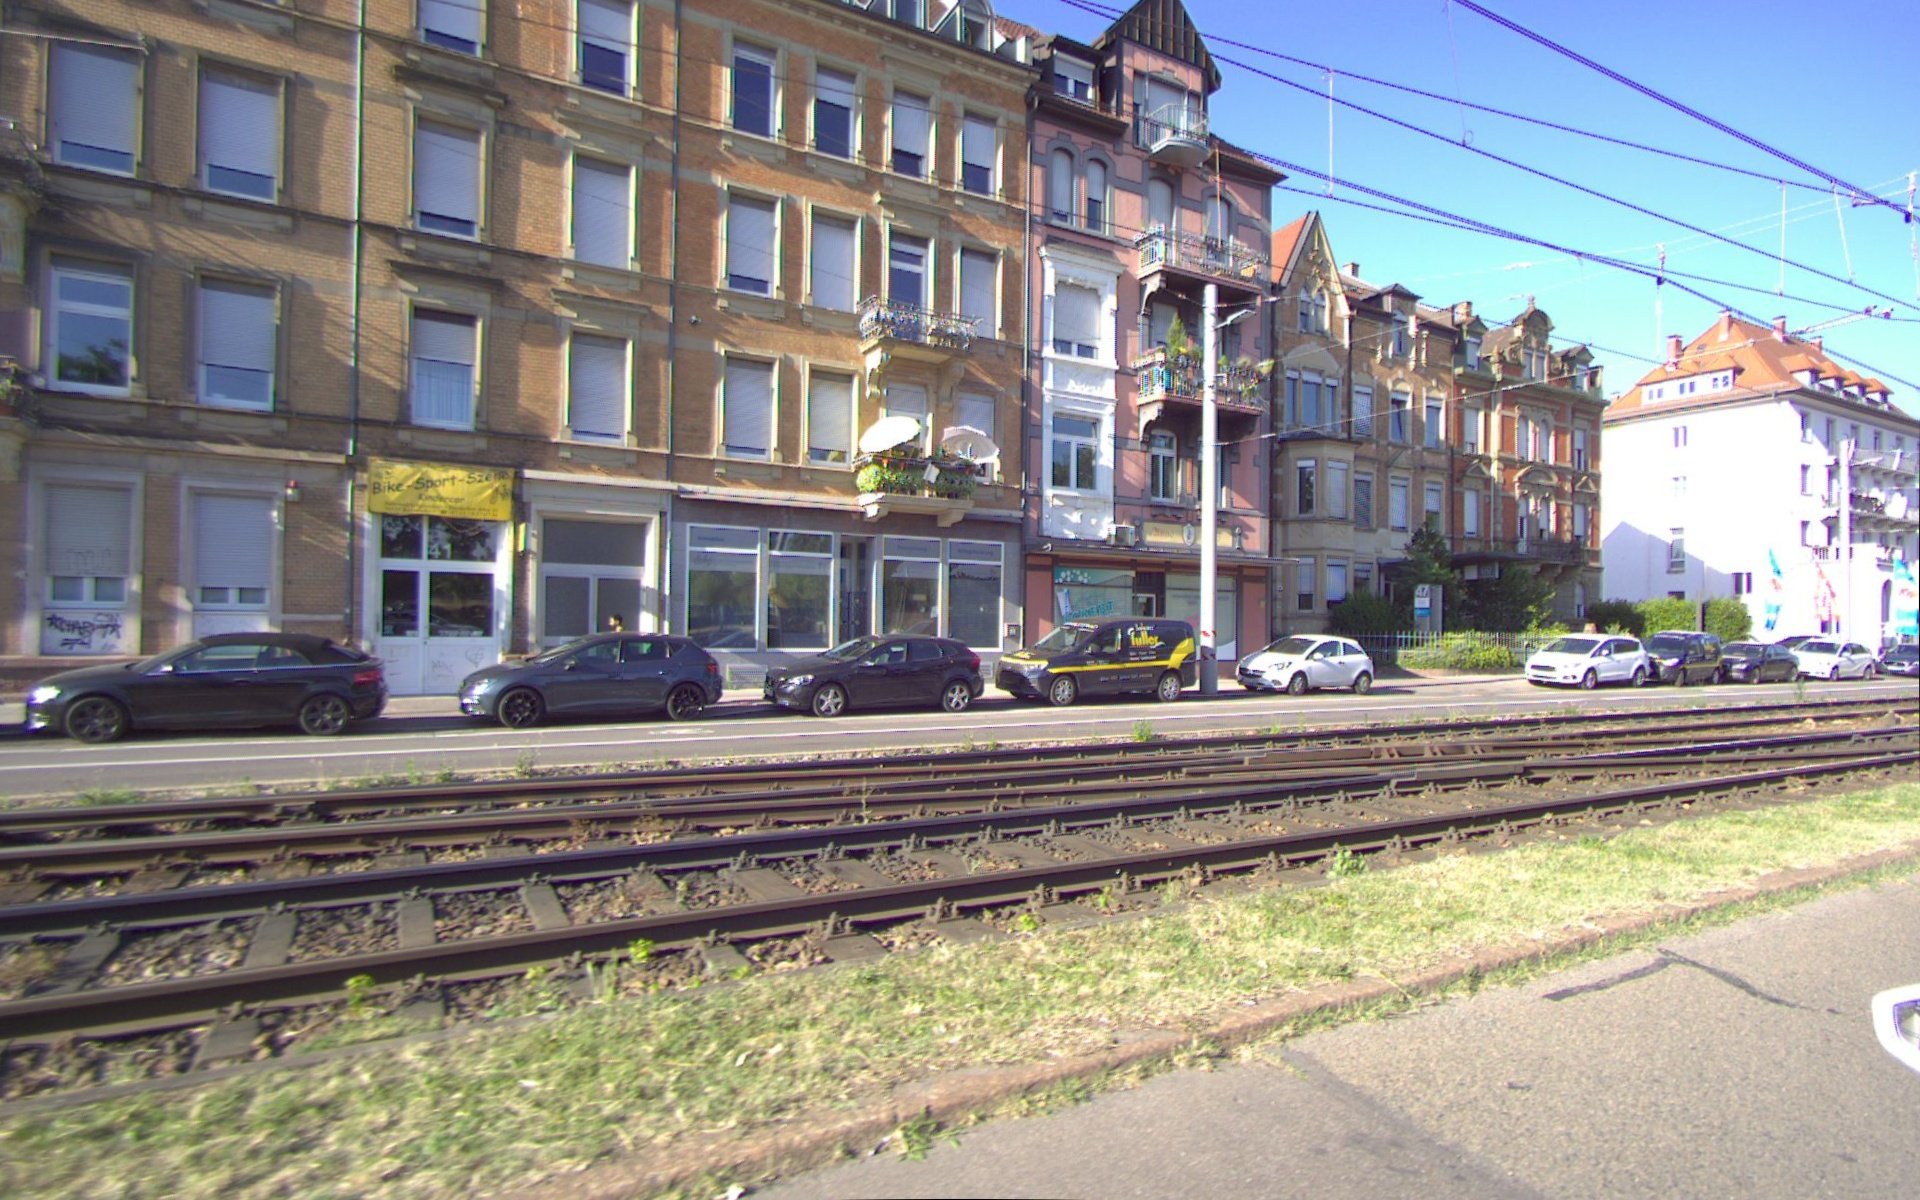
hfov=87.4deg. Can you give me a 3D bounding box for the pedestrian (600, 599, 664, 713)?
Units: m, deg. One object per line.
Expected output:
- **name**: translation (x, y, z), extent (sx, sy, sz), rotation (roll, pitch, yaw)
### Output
- **pedestrian**: translation (-6.084, 1.014, 18.643), extent (0.625, 2.040, 0.876), rotation (2, 0, 31)

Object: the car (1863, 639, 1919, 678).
- **car**: translation (42.693, 2.591, 45.029), extent (4.787, 1.480, 1.910), rotation (1, 3, -31)

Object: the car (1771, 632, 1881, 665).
- **car**: translation (47.296, 2.630, 54.976), extent (1.921, 1.655, 4.124), rotation (-1, -1, -19)

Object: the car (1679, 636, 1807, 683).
- **car**: translation (29.152, 2.177, 37.375), extent (4.780, 1.581, 1.913), rotation (1, 0, -27)

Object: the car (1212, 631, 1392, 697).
- **car**: translation (8.983, 1.635, 26.299), extent (4.571, 1.559, 1.912), rotation (2, -1, -29)

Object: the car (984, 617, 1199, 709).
- **car**: translation (2.964, 1.344, 22.251), extent (4.673, 1.831, 1.652), rotation (2, 0, -30)

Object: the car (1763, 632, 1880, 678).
- **car**: translation (34.703, 2.189, 40.450), extent (4.780, 1.717, 1.913), rotation (1, 0, -27)

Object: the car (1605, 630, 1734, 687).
- **car**: translation (24.570, 1.975, 34.759), extent (4.443, 1.804, 1.912), rotation (1, 0, -29)

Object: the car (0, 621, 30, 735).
- **car**: translation (-14.546, 0.993, 12.419), extent (4.146, 1.465, 1.652), rotation (2, 0, -30)

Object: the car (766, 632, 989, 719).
- **car**: translation (-1.560, 1.392, 19.333), extent (3.933, 1.465, 1.652), rotation (2, 0, -30)

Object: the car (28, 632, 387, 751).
- **car**: translation (-10.591, 1.246, 14.549), extent (3.933, 1.465, 1.652), rotation (2, 0, -30)

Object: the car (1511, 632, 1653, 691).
- **car**: translation (20.077, 1.933, 32.385), extent (4.572, 1.706, 1.912), rotation (1, 0, -30)

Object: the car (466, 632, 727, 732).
- **car**: translation (-6.132, 1.328, 17.044), extent (3.933, 1.465, 1.652), rotation (2, 0, -30)
